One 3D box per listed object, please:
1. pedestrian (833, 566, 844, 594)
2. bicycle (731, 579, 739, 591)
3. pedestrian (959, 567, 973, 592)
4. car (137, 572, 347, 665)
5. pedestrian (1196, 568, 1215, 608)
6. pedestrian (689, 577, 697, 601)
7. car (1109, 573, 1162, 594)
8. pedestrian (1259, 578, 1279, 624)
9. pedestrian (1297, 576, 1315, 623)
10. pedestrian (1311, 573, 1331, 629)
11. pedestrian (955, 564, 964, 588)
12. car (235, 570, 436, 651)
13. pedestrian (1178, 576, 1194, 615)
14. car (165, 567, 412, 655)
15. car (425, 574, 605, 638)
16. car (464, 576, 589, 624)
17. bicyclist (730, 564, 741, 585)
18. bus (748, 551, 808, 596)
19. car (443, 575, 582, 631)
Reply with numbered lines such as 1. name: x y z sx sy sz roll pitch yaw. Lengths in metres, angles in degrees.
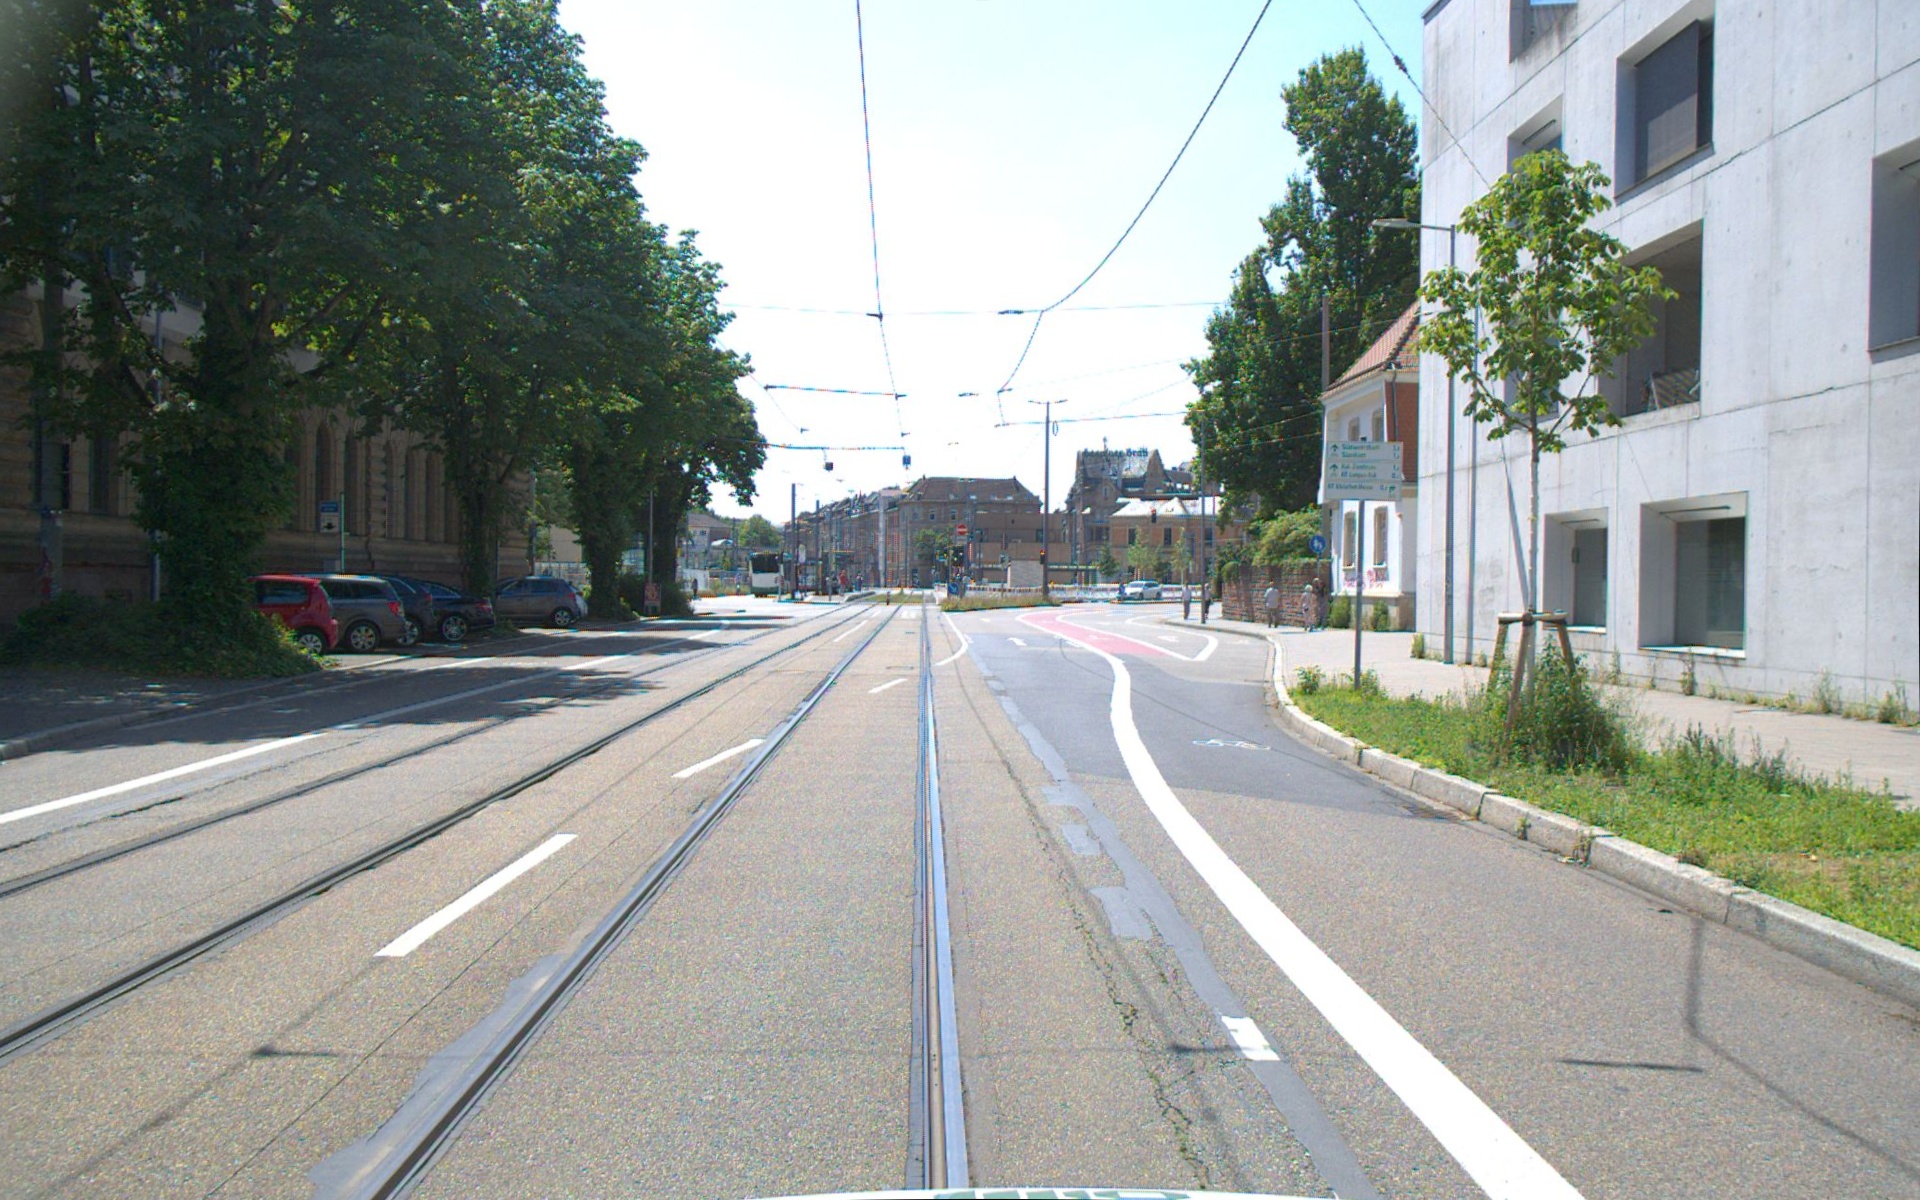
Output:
1. pedestrian: -8.574 -1.403 116.591 0.660 1.942 0.639 0 1 -11
2. bicycle: -18.620 -1.232 136.969 0.493 0.930 2.369 0 1 -3
3. pedestrian: 0.464 -1.555 126.401 0.761 1.896 0.719 1 0 -42
4. car: -12.665 0.314 29.176 3.302 1.542 1.655 1 1 -27
5. pedestrian: 11.385 -0.569 76.670 0.797 1.839 0.700 0 1 3
6. pedestrian: -18.962 -0.779 117.601 0.555 1.735 0.397 0 1 -9
7. car: 12.484 -1.192 117.552 1.957 1.463 4.694 1 1 32
8. pedestrian: 11.353 0.030 60.706 0.647 1.676 0.625 0 1 4
9. pedestrian: 11.396 -0.023 54.466 0.504 1.559 0.598 0 1 4
10. pedestrian: 12.021 0.022 55.087 0.613 1.803 0.719 -2 3 11
11. pedestrian: -0.059 -1.736 119.350 0.517 1.704 0.751 1 0 -9
12. car: -13.201 0.178 35.015 3.767 1.604 1.775 -1 1 -31
13. pedestrian: 10.492 -0.213 76.841 0.663 1.839 0.748 0 1 3
14. car: -13.042 0.219 32.183 4.264 1.612 1.652 1 1 -31
15. car: -10.518 0.111 39.145 3.875 1.398 1.655 -1 2 -27
16. car: -13.531 -0.010 51.650 3.500 1.430 1.685 0 1 -30
17. bicyclist: -18.588 -2.121 136.977 0.804 1.739 0.770 0 1 -3
18. bus: -13.983 -2.035 128.416 2.949 3.213 17.496 0 1 -1
19. car: -13.152 0.101 48.631 3.625 1.546 1.653 1 0 -30
